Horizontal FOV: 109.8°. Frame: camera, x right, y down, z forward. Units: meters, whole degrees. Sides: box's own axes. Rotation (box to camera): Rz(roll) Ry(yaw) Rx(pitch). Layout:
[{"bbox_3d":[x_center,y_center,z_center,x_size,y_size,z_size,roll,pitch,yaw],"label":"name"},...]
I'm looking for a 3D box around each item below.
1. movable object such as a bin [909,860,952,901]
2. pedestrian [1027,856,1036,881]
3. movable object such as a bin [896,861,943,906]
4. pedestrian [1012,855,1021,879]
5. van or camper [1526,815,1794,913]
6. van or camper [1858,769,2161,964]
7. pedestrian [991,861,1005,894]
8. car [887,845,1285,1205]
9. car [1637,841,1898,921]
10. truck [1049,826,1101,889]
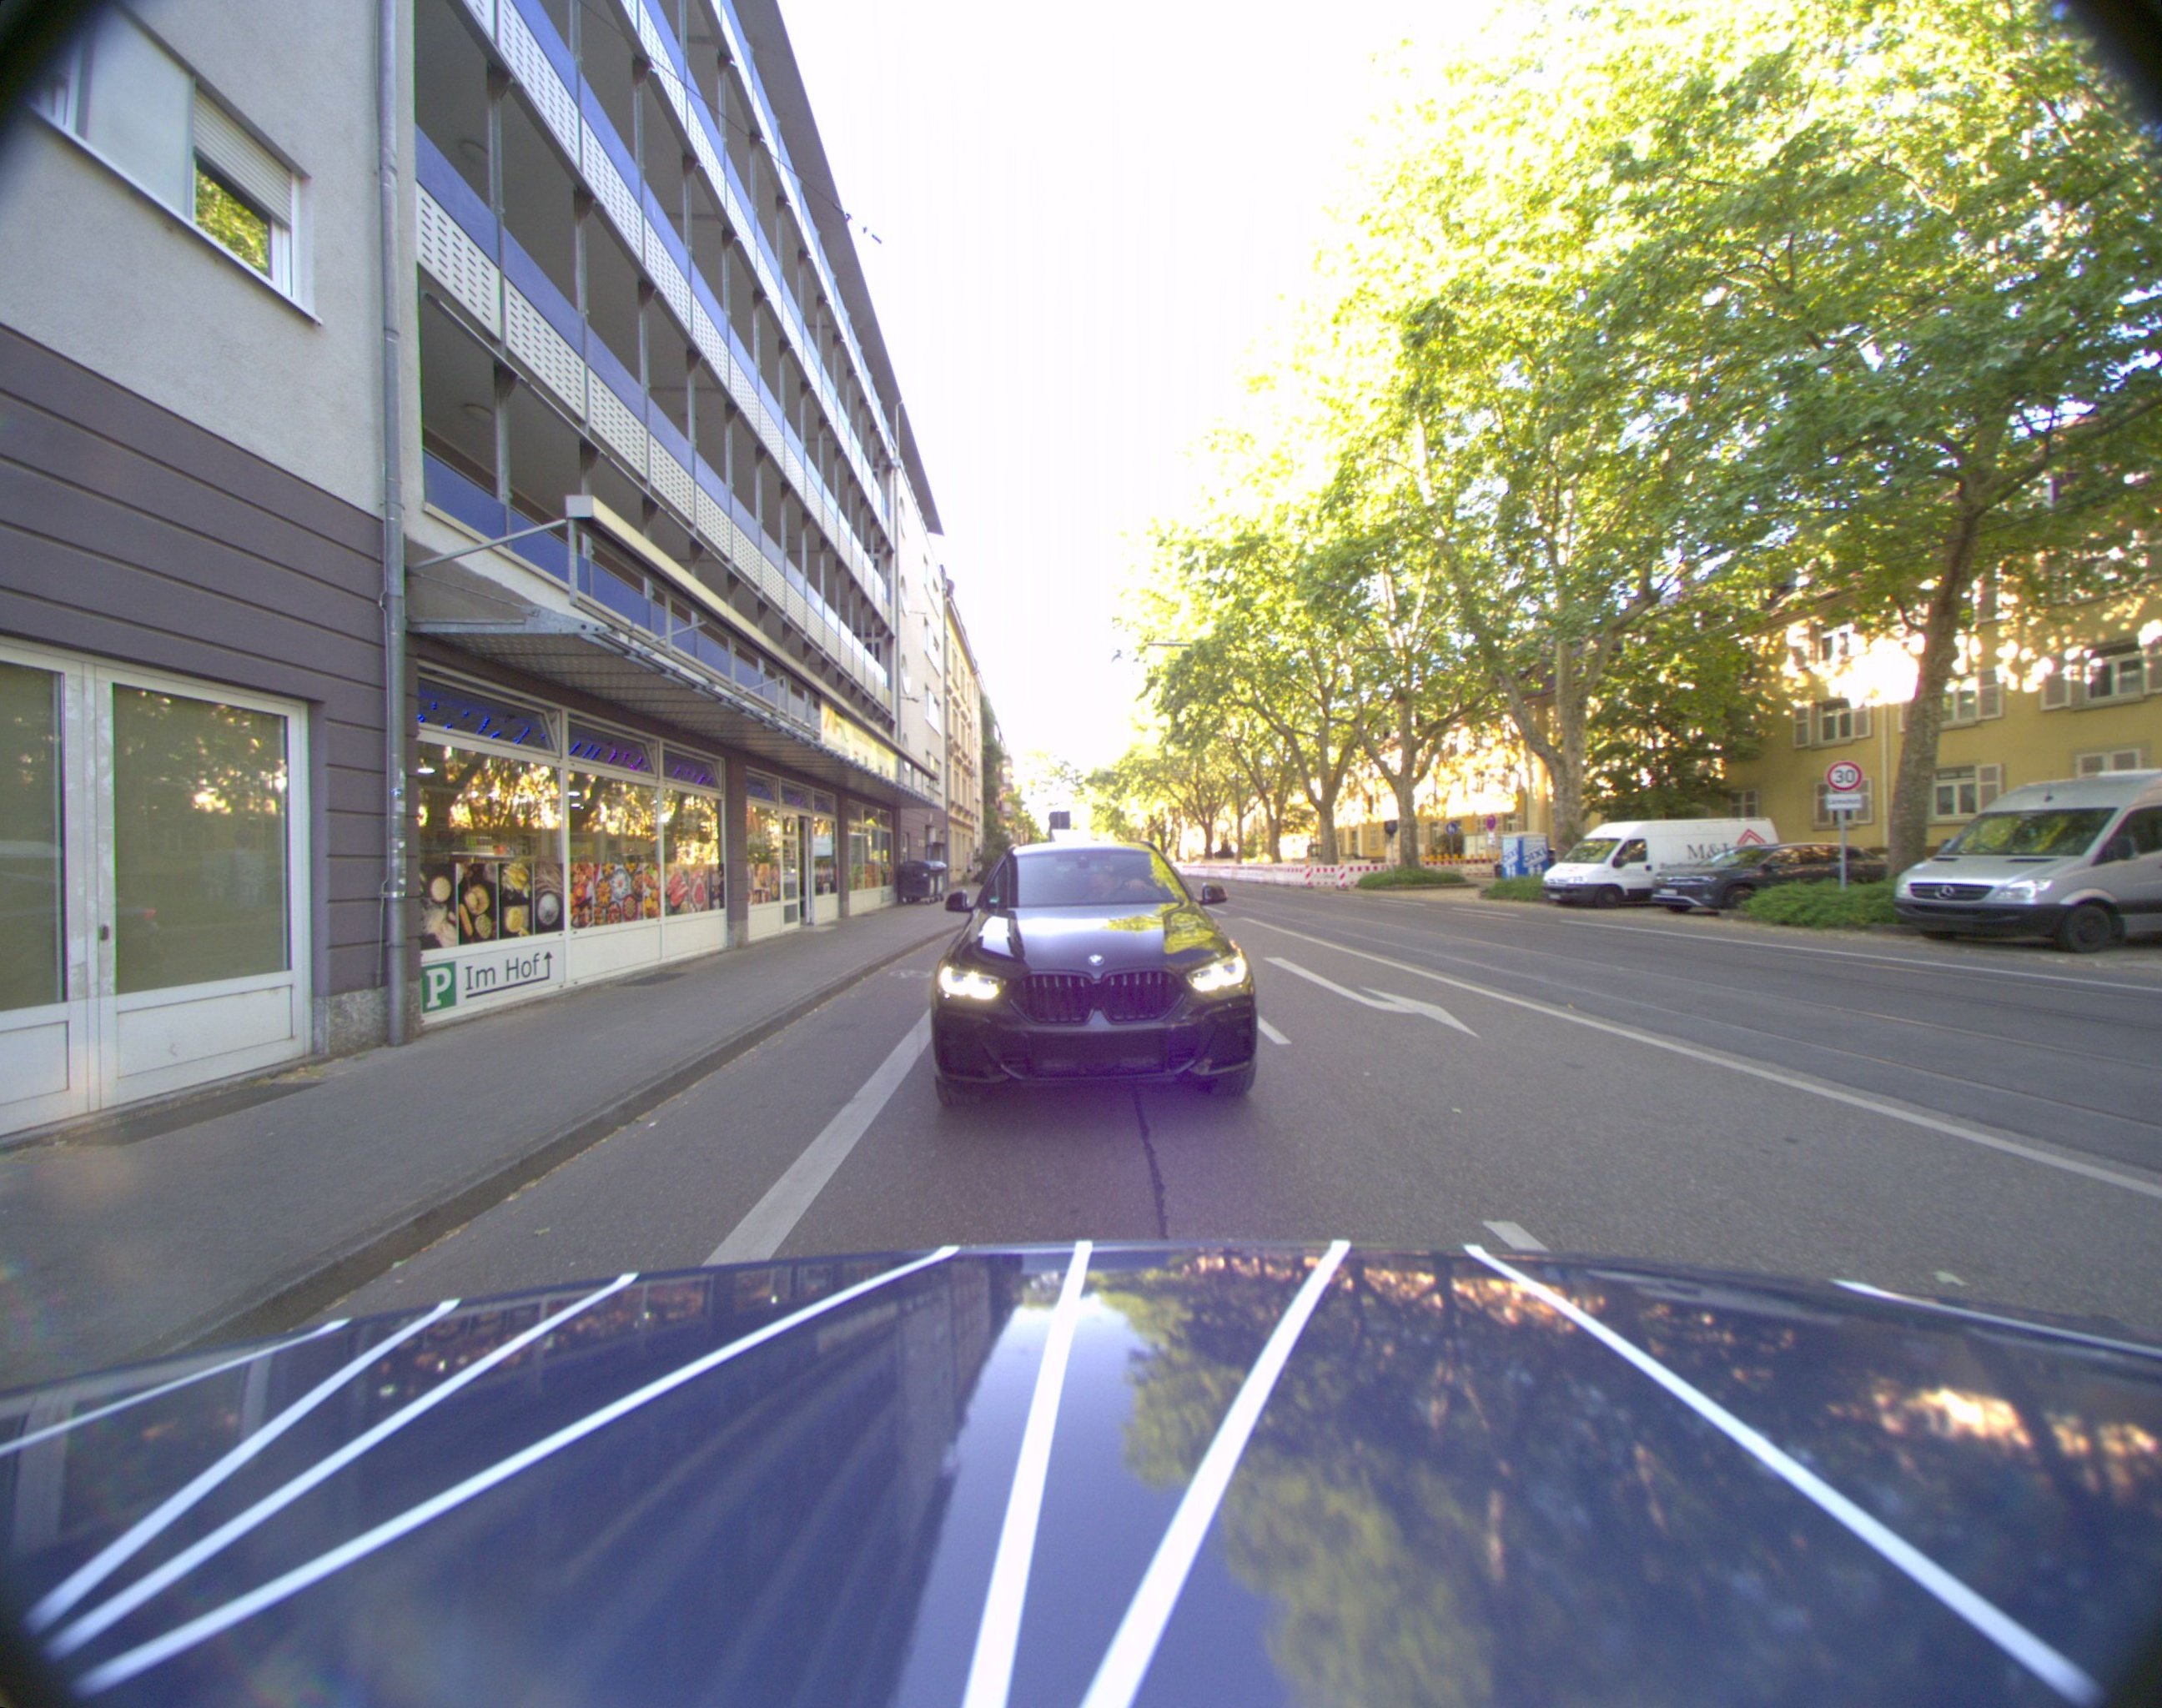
[{"bbox_3d":[-5.282,0.926,26.830,1.203,1.402,1.372,-1,0,1],"label":"movable object such as a bin"},{"bbox_3d":[-3.334,0.984,51.576,0.541,1.662,0.630,-1,0,1],"label":"pedestrian"},{"bbox_3d":[-5.257,0.947,24.830,1.203,1.402,1.372,-1,0,1],"label":"movable object such as a bin"},{"bbox_3d":[-4.513,0.920,53.076,0.541,1.662,0.513,-1,0,1],"label":"pedestrian"},{"bbox_3d":[15.873,0.246,21.069,5.763,2.371,2.156,-2,1,0],"label":"van or camper"},{"bbox_3d":[16.006,0.089,11.663,5.931,2.633,2.156,-2,1,0],"label":"van or camper"},{"bbox_3d":[-3.656,1.020,33.523,0.541,1.437,0.630,-1,0,1],"label":"pedestrian"},{"bbox_3d":[0.069,0.837,6.149,1.930,1.742,4.683,-2,1,1],"label":"car"},{"bbox_3d":[15.995,0.608,17.858,4.540,1.624,1.693,-2,1,1],"label":"car"},{"bbox_3d":[-0.416,0.159,41.024,2.344,3.095,5.210,-2,1,-4],"label":"truck"}]
